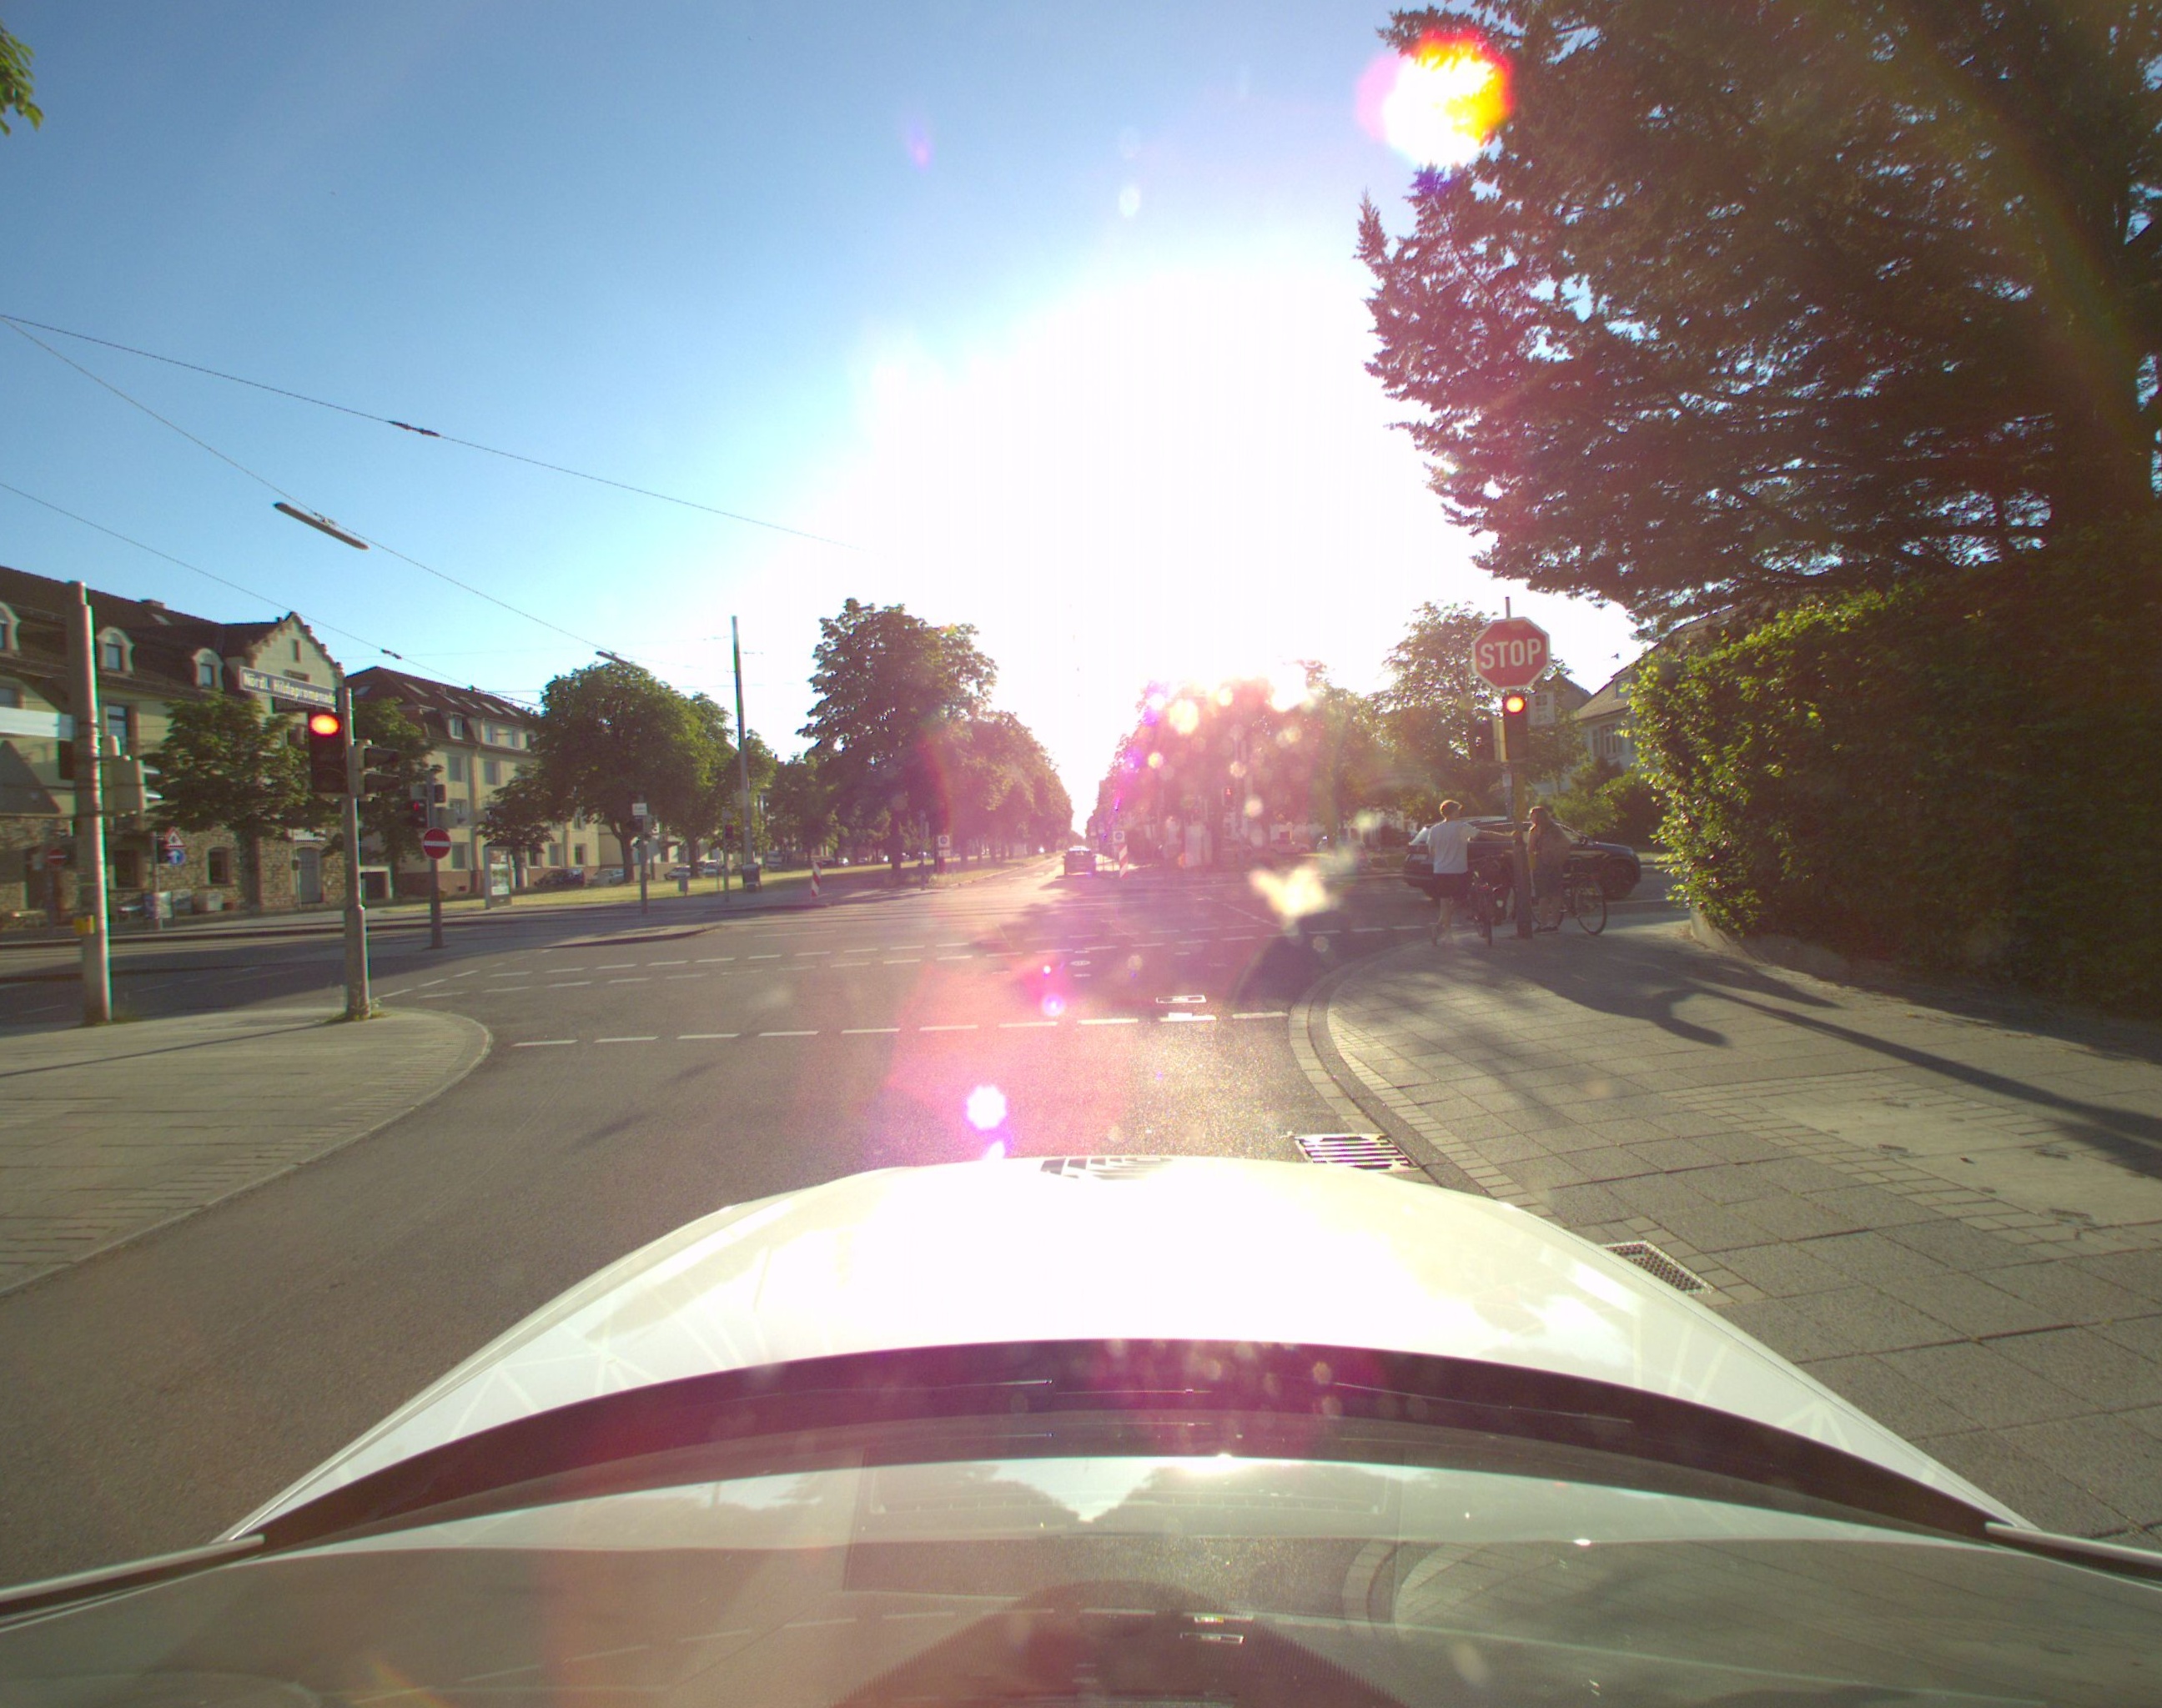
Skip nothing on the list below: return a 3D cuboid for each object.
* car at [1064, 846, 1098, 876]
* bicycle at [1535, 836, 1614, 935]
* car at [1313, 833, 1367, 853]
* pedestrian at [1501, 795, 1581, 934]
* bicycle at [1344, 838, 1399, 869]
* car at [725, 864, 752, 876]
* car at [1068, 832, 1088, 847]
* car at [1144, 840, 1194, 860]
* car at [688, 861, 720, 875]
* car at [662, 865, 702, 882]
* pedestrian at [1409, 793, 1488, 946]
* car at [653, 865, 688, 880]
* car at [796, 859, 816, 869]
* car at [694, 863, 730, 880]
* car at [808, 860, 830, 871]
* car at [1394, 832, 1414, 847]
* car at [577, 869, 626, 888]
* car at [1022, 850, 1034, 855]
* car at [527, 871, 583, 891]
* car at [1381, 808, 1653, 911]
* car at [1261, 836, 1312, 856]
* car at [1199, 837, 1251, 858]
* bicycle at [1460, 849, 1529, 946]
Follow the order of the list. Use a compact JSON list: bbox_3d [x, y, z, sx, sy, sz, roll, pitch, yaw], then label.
[{"bbox_3d":[0.033,0.350,44.014,1.634,1.450,3.310,-2,1,3],"label":"car"},{"bbox_3d":[6.345,0.366,10.536,0.483,1.142,1.606,-5,0,19],"label":"bicycle"},{"bbox_3d":[20.893,-0.894,65.692,3.838,1.427,1.595,-2,0,-4],"label":"car"},{"bbox_3d":[5.970,0.131,10.603,0.663,1.708,0.626,-6,1,20],"label":"pedestrian"},{"bbox_3d":[11.644,-0.022,32.702,1.946,1.132,0.620,-3,0,2],"label":"bicycle"},{"bbox_3d":[-43.534,2.034,103.539,1.732,1.427,3.793,-2,0,1],"label":"car"},{"bbox_3d":[-0.269,-1.386,78.181,1.839,1.393,3.829,-2,1,1],"label":"car"},{"bbox_3d":[7.001,-0.314,64.976,3.767,1.427,1.744,-2,2,0],"label":"car"},{"bbox_3d":[-43.112,1.591,93.250,1.732,1.427,3.793,-2,0,1],"label":"car"},{"bbox_3d":[-37.356,1.816,76.290,1.732,1.427,3.793,-2,1,1],"label":"car"},{"bbox_3d":[4.811,0.200,10.725,0.664,1.865,0.886,-8,-3,21],"label":"pedestrian"},{"bbox_3d":[-43.922,2.007,87.173,1.732,1.427,3.793,-3,0,1],"label":"car"},{"bbox_3d":[-43.092,1.531,127.624,1.732,1.427,3.793,-2,0,1],"label":"car"},{"bbox_3d":[-37.320,1.777,82.423,1.732,1.427,3.793,-2,2,1],"label":"car"},{"bbox_3d":[-37.711,1.608,117.241,1.732,1.427,3.793,-2,0,1],"label":"car"},{"bbox_3d":[33.104,-1.458,83.476,1.649,1.417,3.563,-2,0,24],"label":"car"},{"bbox_3d":[-43.072,2.151,73.259,1.729,1.427,3.800,-2,2,6],"label":"car"},{"bbox_3d":[-15.855,-0.403,245.526,3.510,1.427,1.602,-2,0,-1],"label":"car"},{"bbox_3d":[-43.117,2.224,66.842,1.729,1.397,3.799,-2,0,6],"label":"car"},{"bbox_3d":[8.588,0.078,16.215,4.548,1.663,1.873,-3,0,-10],"label":"car"},{"bbox_3d":[16.381,-0.635,65.025,3.656,1.427,1.529,-2,0,-4],"label":"car"},{"bbox_3d":[11.500,-0.513,65.196,3.767,1.525,1.744,-2,2,0],"label":"car"},{"bbox_3d":[5.256,0.513,10.430,0.483,1.097,1.800,-5,-1,20],"label":"bicycle"}]
